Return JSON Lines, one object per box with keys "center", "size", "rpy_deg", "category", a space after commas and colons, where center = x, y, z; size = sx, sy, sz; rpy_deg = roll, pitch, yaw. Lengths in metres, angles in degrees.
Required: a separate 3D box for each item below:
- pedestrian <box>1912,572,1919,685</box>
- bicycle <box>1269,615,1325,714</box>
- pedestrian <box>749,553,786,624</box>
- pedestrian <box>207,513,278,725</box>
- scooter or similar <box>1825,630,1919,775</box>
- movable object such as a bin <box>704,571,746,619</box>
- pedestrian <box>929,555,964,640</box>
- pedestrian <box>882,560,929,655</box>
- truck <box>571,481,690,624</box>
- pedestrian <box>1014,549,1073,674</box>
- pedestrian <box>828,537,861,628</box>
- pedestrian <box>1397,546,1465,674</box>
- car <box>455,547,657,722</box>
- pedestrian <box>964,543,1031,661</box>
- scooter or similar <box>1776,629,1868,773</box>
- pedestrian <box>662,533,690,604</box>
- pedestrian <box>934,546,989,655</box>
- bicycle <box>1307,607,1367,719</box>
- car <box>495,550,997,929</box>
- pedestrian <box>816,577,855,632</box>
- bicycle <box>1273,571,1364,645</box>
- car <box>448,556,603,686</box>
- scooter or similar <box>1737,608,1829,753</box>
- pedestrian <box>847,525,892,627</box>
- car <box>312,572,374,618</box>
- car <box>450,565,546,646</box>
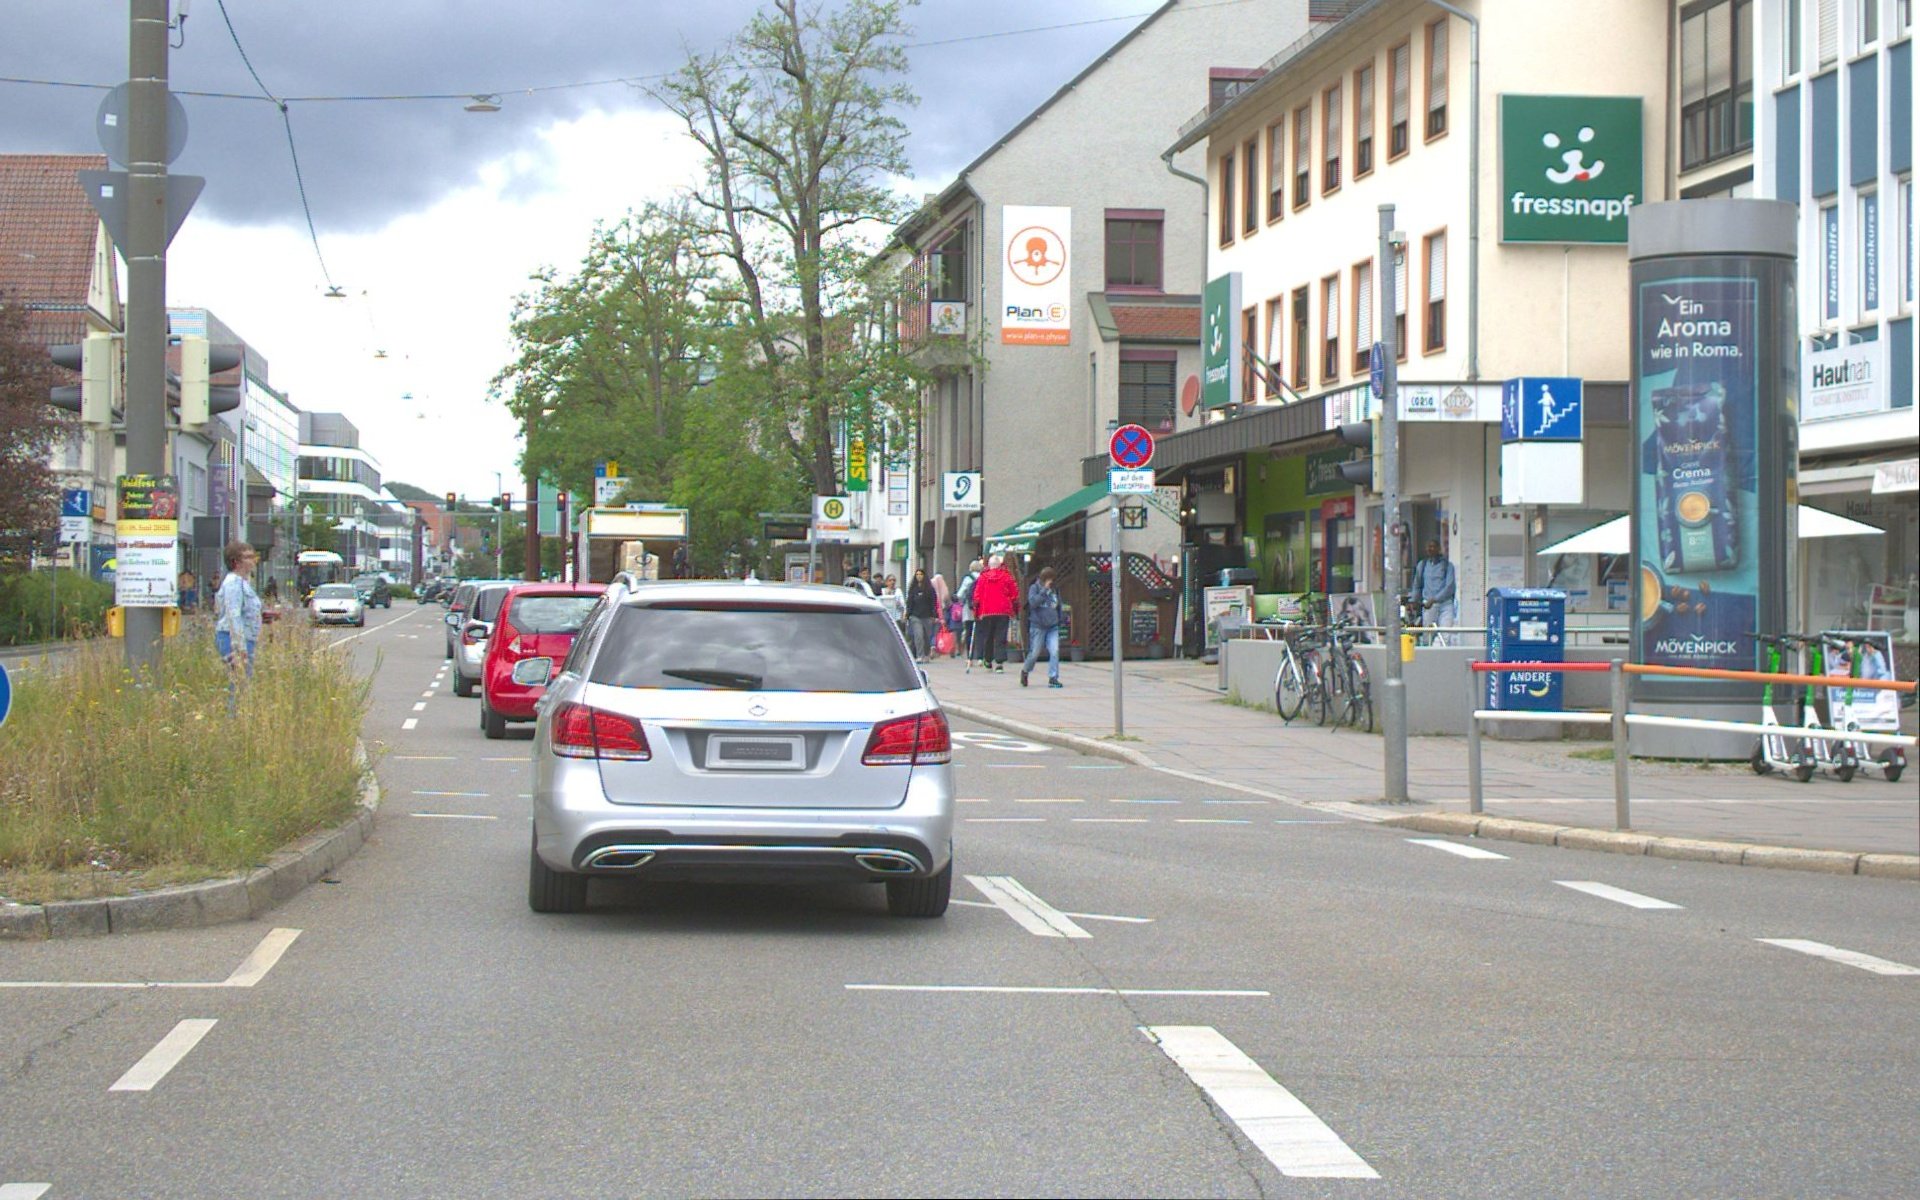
{"center": [10.693, 0.330, 36.973], "size": [0.613, 1.216, 0.588], "rpy_deg": [4, 0, -10], "category": "pedestrian"}
{"center": [3.454, 0.652, 35.312], "size": [0.273, 0.971, 1.387], "rpy_deg": [0, 1, -7], "category": "bicycle"}
{"center": [-4.511, -0.275, 80.521], "size": [0.534, 1.629, 0.588], "rpy_deg": [4, 0, -32], "category": "pedestrian"}
{"center": [-5.603, 0.144, 26.822], "size": [0.502, 1.629, 0.663], "rpy_deg": [0, 1, -14], "category": "pedestrian"}
{"center": [7.455, 0.824, 28.119], "size": [0.314, 1.129, 1.208], "rpy_deg": [0, 1, -7], "category": "scooter or similar"}
{"center": [-6.700, -0.147, 97.940], "size": [1.143, 1.335, 1.376], "rpy_deg": [0, 0, -6], "category": "movable object such as a bin"}
{"center": [-0.266, -0.057, 66.932], "size": [0.586, 1.629, 0.615], "rpy_deg": [1, 1, -6], "category": "pedestrian"}
{"center": [-0.950, 0.131, 59.512], "size": [0.718, 1.629, 0.615], "rpy_deg": [0, 0, -10], "category": "pedestrian"}
{"center": [-8.825, -1.251, 91.319], "size": [2.688, 3.549, 9.769], "rpy_deg": [1, 1, -8], "category": "truck"}
{"center": [1.104, 0.146, 45.627], "size": [0.687, 1.629, 0.853], "rpy_deg": [1, 1, -5], "category": "pedestrian"}
{"center": [-2.594, -0.392, 77.280], "size": [0.613, 2.040, 0.588], "rpy_deg": [-1, 0, 6], "category": "pedestrian"}
{"center": [6.046, 0.122, 44.128], "size": [0.666, 1.629, 0.801], "rpy_deg": [1, 1, -7], "category": "pedestrian"}
{"center": [-3.913, 0.312, 33.052], "size": [1.754, 1.516, 4.001], "rpy_deg": [2, 0, -8], "category": "car"}
{"center": [0.555, 0.033, 51.493], "size": [0.795, 1.736, 0.782], "rpy_deg": [-1, -1, -13], "category": "pedestrian"}
{"center": [7.040, 0.814, 28.108], "size": [0.314, 1.129, 1.208], "rpy_deg": [0, 1, -7], "category": "scooter or similar"}
{"center": [-7.093, -0.783, 85.864], "size": [0.613, 1.774, 0.588], "rpy_deg": [0, -1, -11], "category": "pedestrian"}
{"center": [0.020, 0.013, 55.485], "size": [0.682, 1.736, 0.782], "rpy_deg": [-1, -1, -13], "category": "pedestrian"}
{"center": [3.706, 0.611, 33.839], "size": [0.273, 1.049, 1.387], "rpy_deg": [0, 1, -7], "category": "bicycle"}
{"center": [-1.121, 0.558, 15.861], "size": [1.874, 1.501, 4.001], "rpy_deg": [1, 0, -10], "category": "car"}
{"center": [-2.705, 0.087, 74.555], "size": [0.711, 1.162, 0.588], "rpy_deg": [1, 1, -14], "category": "pedestrian"}
{"center": [5.330, 0.108, 51.249], "size": [0.741, 1.059, 2.352], "rpy_deg": [0, 1, -10], "category": "bicycle"}
{"center": [-5.958, 0.254, 47.118], "size": [1.993, 1.678, 4.001], "rpy_deg": [1, 0, -7], "category": "car"}
{"center": [6.702, 0.643, 28.032], "size": [0.314, 1.129, 1.208], "rpy_deg": [0, 1, -7], "category": "scooter or similar"}
{"center": [-1.519, -0.404, 57.609], "size": [0.612, 1.672, 0.615], "rpy_deg": [4, 0, -6], "category": "pedestrian"}
{"center": [-20.933, -0.173, 116.768], "size": [1.874, 1.501, 4.344], "rpy_deg": [-1, 0, -7], "category": "car"}
{"center": [-9.967, 0.091, 74.280], "size": [1.993, 1.678, 4.001], "rpy_deg": [1, 0, -7], "category": "car"}
